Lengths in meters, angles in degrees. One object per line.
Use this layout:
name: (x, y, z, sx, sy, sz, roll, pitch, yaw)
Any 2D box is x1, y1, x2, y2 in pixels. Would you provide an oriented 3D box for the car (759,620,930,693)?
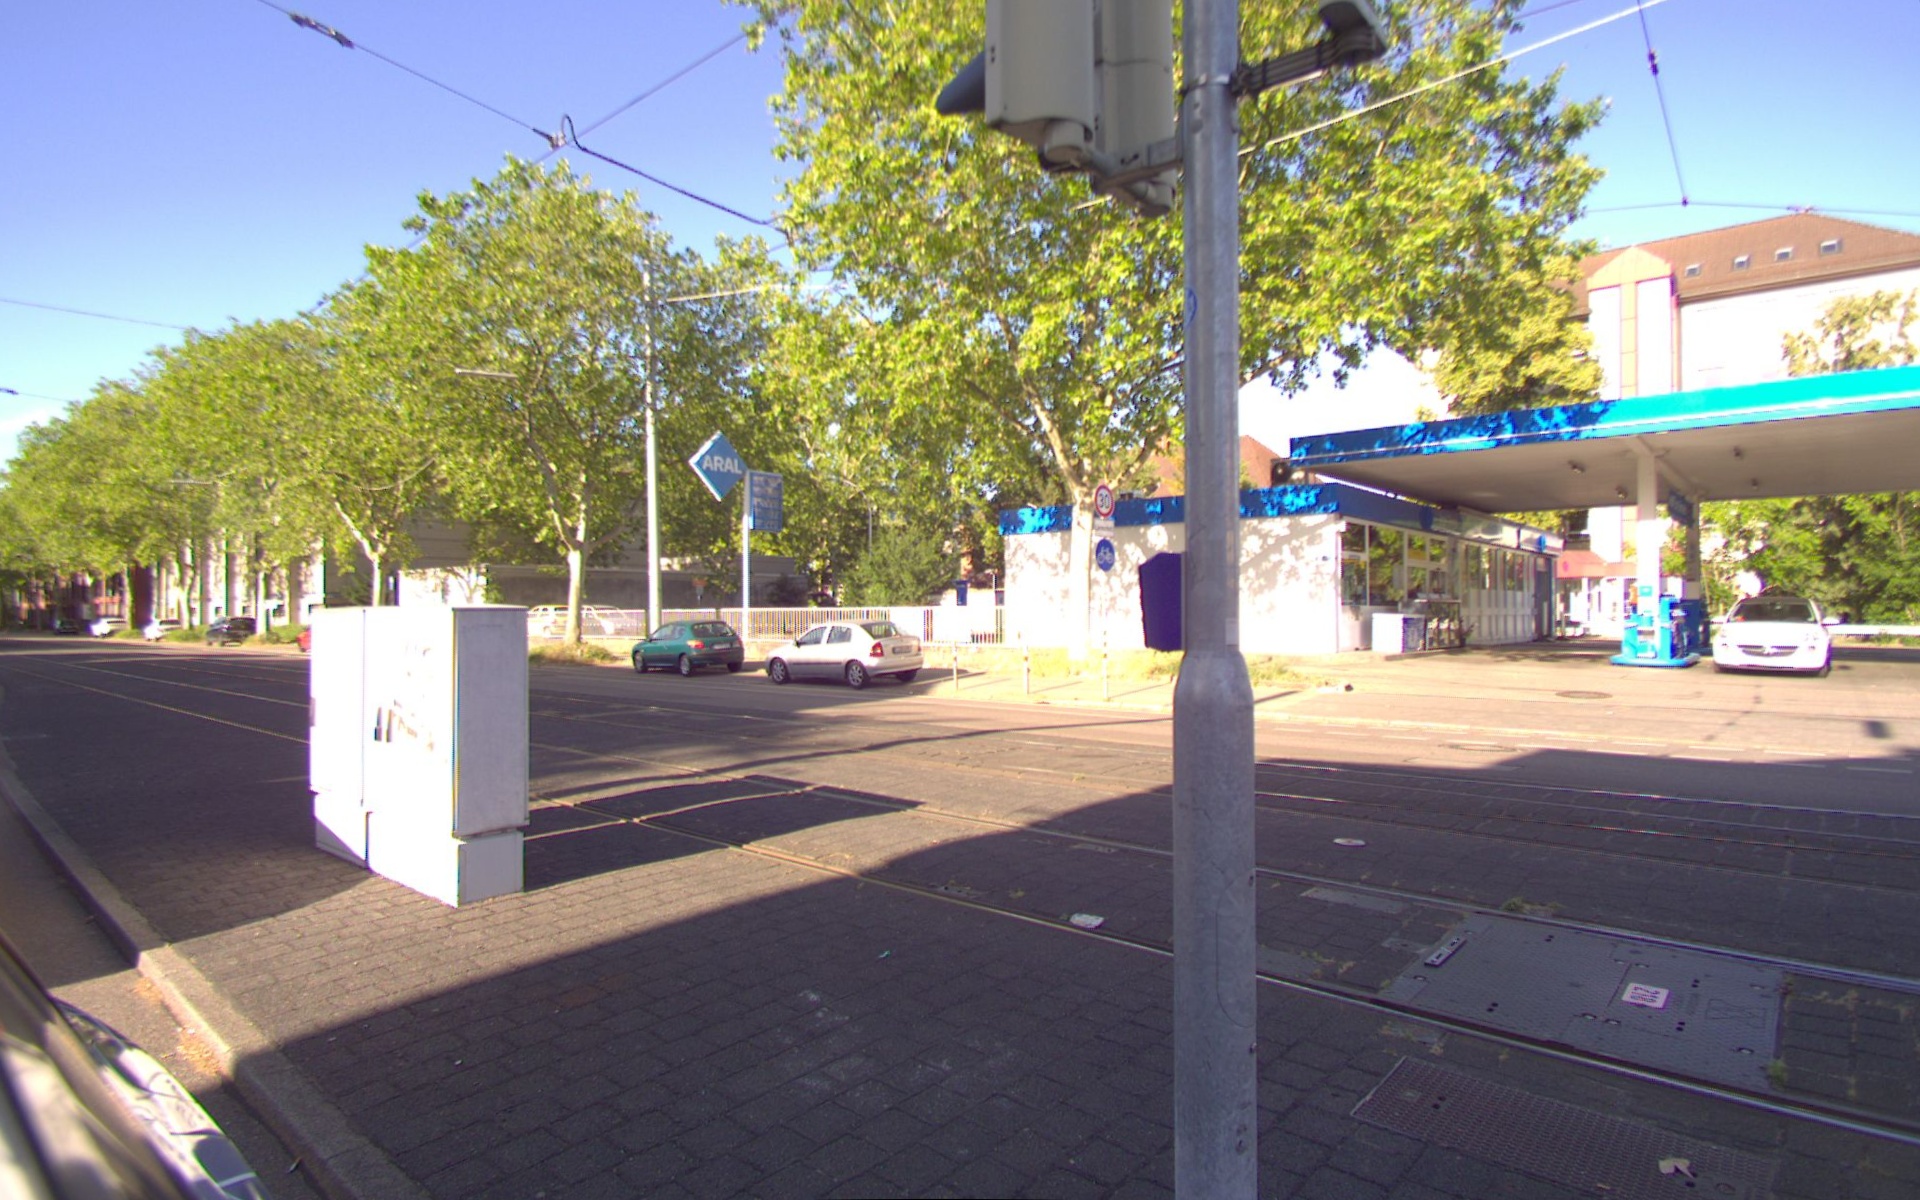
car: (-2.638, 1.204, 22.648, 3.812, 1.413, 1.674, -1, 1, 41)

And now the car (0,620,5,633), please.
car: (-133.920, 3.668, 140.490, 3.748, 1.798, 1.674, -1, 1, 41)

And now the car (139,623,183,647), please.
car: (-53.858, 2.338, 68.189, 3.748, 1.459, 1.674, -1, 1, 41)

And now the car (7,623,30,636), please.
car: (-112.131, 3.555, 120.521, 3.748, 1.459, 1.674, -1, 1, 41)

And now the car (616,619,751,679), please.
car: (-7.402, 1.265, 26.977, 3.748, 1.413, 1.674, -1, 1, 41)

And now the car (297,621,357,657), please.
car: (-28.686, 1.753, 45.838, 2.621, 1.519, 1.579, -1, 1, 41)

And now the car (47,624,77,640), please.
car: (-85.234, 3.023, 96.057, 3.748, 1.459, 1.674, -1, 1, 41)

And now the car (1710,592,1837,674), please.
car: (15.884, 0.610, 19.699, 1.757, 1.453, 3.521, -1, -1, 41)

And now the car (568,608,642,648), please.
car: (-15.265, 1.193, 43.454, 3.303, 1.604, 1.579, -1, 0, 41)

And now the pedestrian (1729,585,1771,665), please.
pedestrian: (17.356, 0.543, 22.245, 0.493, 1.714, 0.649, 1, -2, -45)

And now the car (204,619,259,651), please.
car: (-40.674, 1.936, 56.462, 3.748, 1.670, 1.674, -1, 1, 41)

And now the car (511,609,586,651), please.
car: (-17.084, 1.228, 41.977, 3.303, 1.628, 1.579, -1, 0, 41)

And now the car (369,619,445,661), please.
car: (-21.876, 1.556, 40.009, 3.303, 1.519, 1.579, -1, 1, 41)

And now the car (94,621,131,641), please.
car: (-66.674, 2.441, 79.618, 3.748, 1.459, 1.674, -1, 1, 41)
